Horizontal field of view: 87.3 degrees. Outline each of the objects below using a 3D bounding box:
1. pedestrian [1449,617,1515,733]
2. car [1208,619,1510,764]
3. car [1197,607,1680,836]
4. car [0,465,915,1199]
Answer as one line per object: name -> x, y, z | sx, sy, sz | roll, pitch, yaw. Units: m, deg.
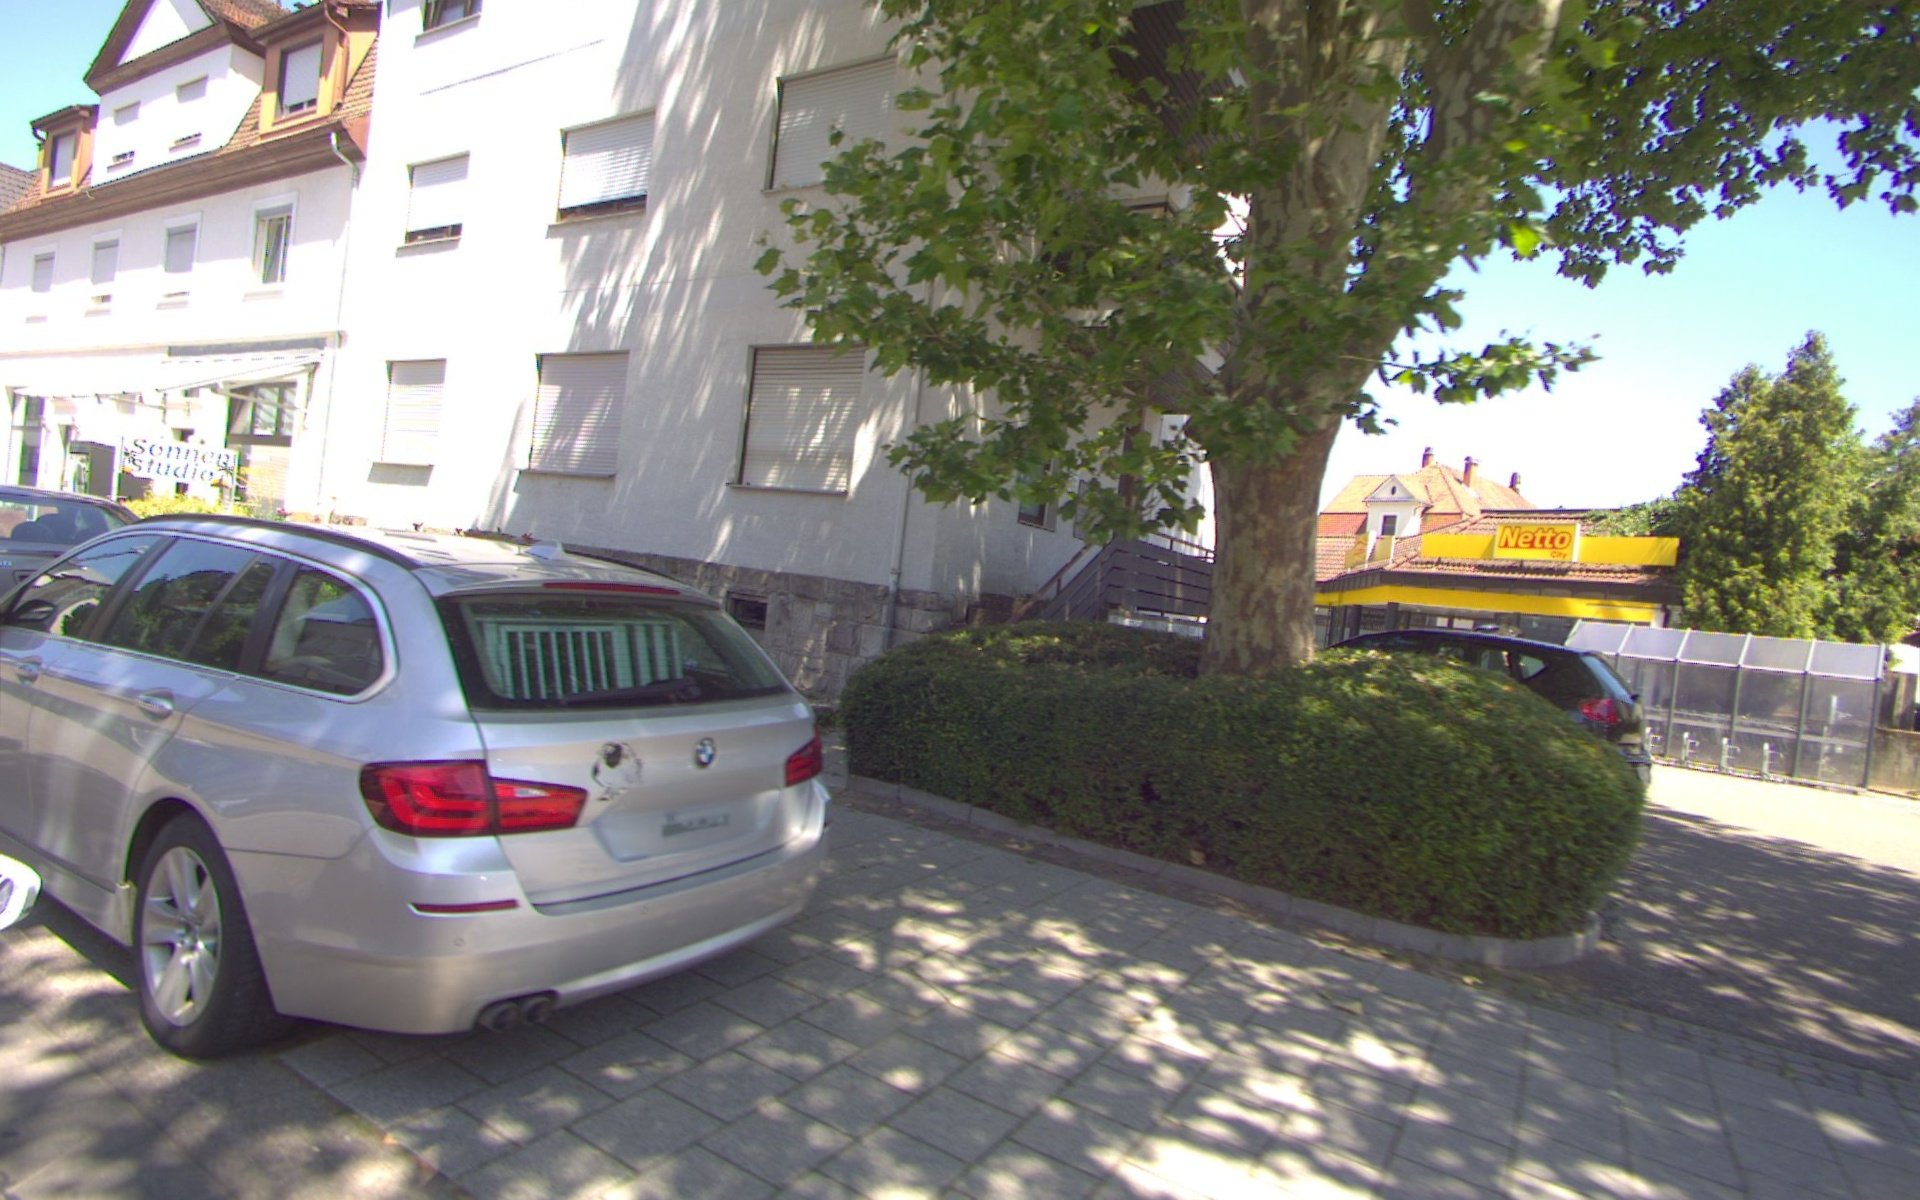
pedestrian -> 7.056, 1.017, 13.599 | 0.508, 1.487, 0.602 | 7, 1, 43
car -> 5.916, 1.299, 15.143 | 3.706, 1.556, 1.833 | 7, 0, 43
car -> 4.725, 1.085, 10.335 | 4.044, 1.562, 1.681 | 7, 1, 44
car -> -2.683, 0.364, 4.117 | 4.681, 1.530, 1.830 | 7, 1, 32
